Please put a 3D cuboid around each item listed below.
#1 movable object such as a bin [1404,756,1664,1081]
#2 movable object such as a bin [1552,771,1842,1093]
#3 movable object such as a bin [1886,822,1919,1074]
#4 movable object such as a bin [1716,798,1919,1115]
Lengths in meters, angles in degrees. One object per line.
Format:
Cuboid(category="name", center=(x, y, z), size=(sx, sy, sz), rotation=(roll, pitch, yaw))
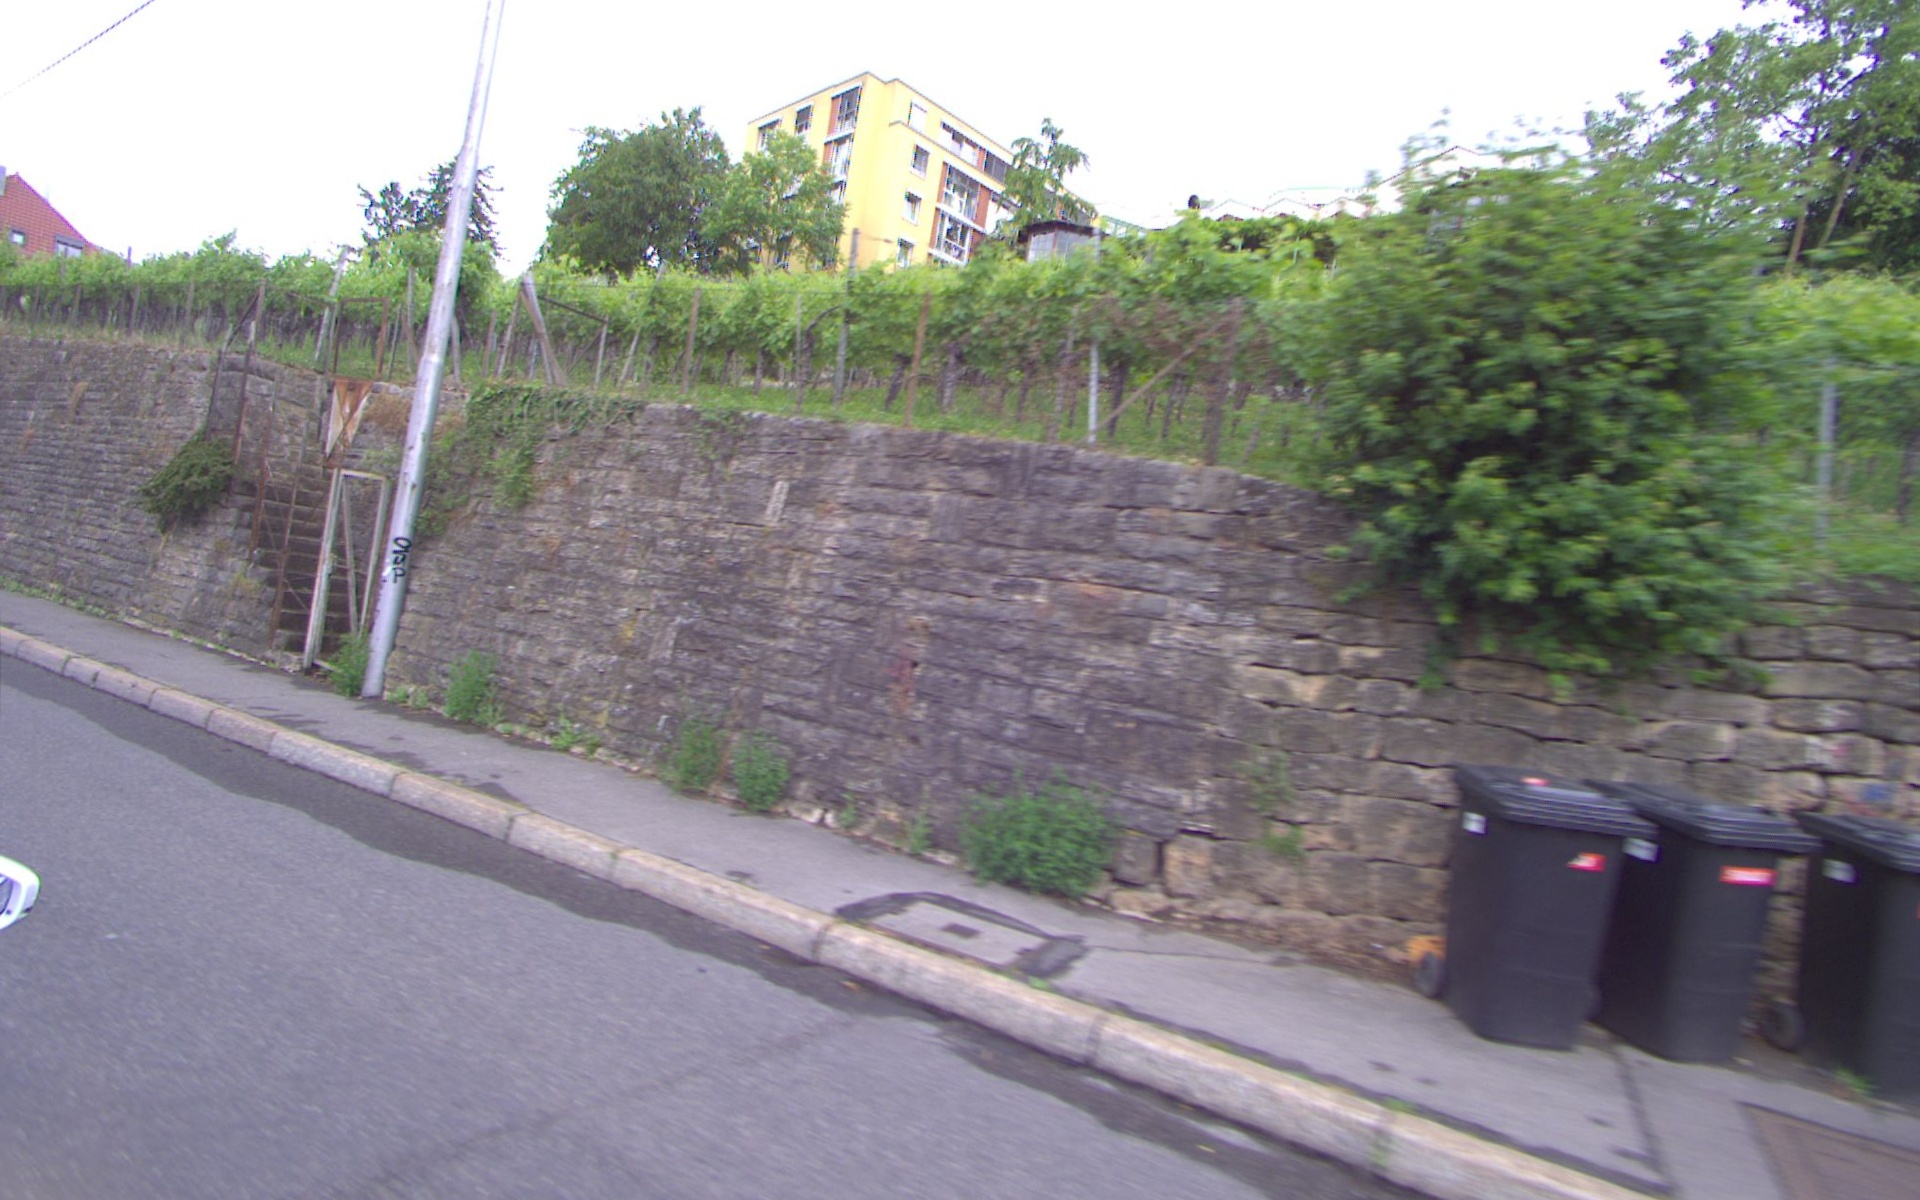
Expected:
Cuboid(category="movable object such as a bin", center=(2.385, 1.284, 4.280), size=(0.666, 1.071, 0.745), rotation=(7, 0, 13))
Cuboid(category="movable object such as a bin", center=(3.124, 1.367, 4.351), size=(0.666, 1.071, 0.745), rotation=(7, 0, 13))
Cuboid(category="movable object such as a bin", center=(4.482, 1.564, 4.196), size=(0.536, 1.071, 0.712), rotation=(7, 0, 13))
Cuboid(category="movable object such as a bin", center=(3.833, 1.475, 4.256), size=(0.666, 1.071, 0.745), rotation=(7, 0, 13))
